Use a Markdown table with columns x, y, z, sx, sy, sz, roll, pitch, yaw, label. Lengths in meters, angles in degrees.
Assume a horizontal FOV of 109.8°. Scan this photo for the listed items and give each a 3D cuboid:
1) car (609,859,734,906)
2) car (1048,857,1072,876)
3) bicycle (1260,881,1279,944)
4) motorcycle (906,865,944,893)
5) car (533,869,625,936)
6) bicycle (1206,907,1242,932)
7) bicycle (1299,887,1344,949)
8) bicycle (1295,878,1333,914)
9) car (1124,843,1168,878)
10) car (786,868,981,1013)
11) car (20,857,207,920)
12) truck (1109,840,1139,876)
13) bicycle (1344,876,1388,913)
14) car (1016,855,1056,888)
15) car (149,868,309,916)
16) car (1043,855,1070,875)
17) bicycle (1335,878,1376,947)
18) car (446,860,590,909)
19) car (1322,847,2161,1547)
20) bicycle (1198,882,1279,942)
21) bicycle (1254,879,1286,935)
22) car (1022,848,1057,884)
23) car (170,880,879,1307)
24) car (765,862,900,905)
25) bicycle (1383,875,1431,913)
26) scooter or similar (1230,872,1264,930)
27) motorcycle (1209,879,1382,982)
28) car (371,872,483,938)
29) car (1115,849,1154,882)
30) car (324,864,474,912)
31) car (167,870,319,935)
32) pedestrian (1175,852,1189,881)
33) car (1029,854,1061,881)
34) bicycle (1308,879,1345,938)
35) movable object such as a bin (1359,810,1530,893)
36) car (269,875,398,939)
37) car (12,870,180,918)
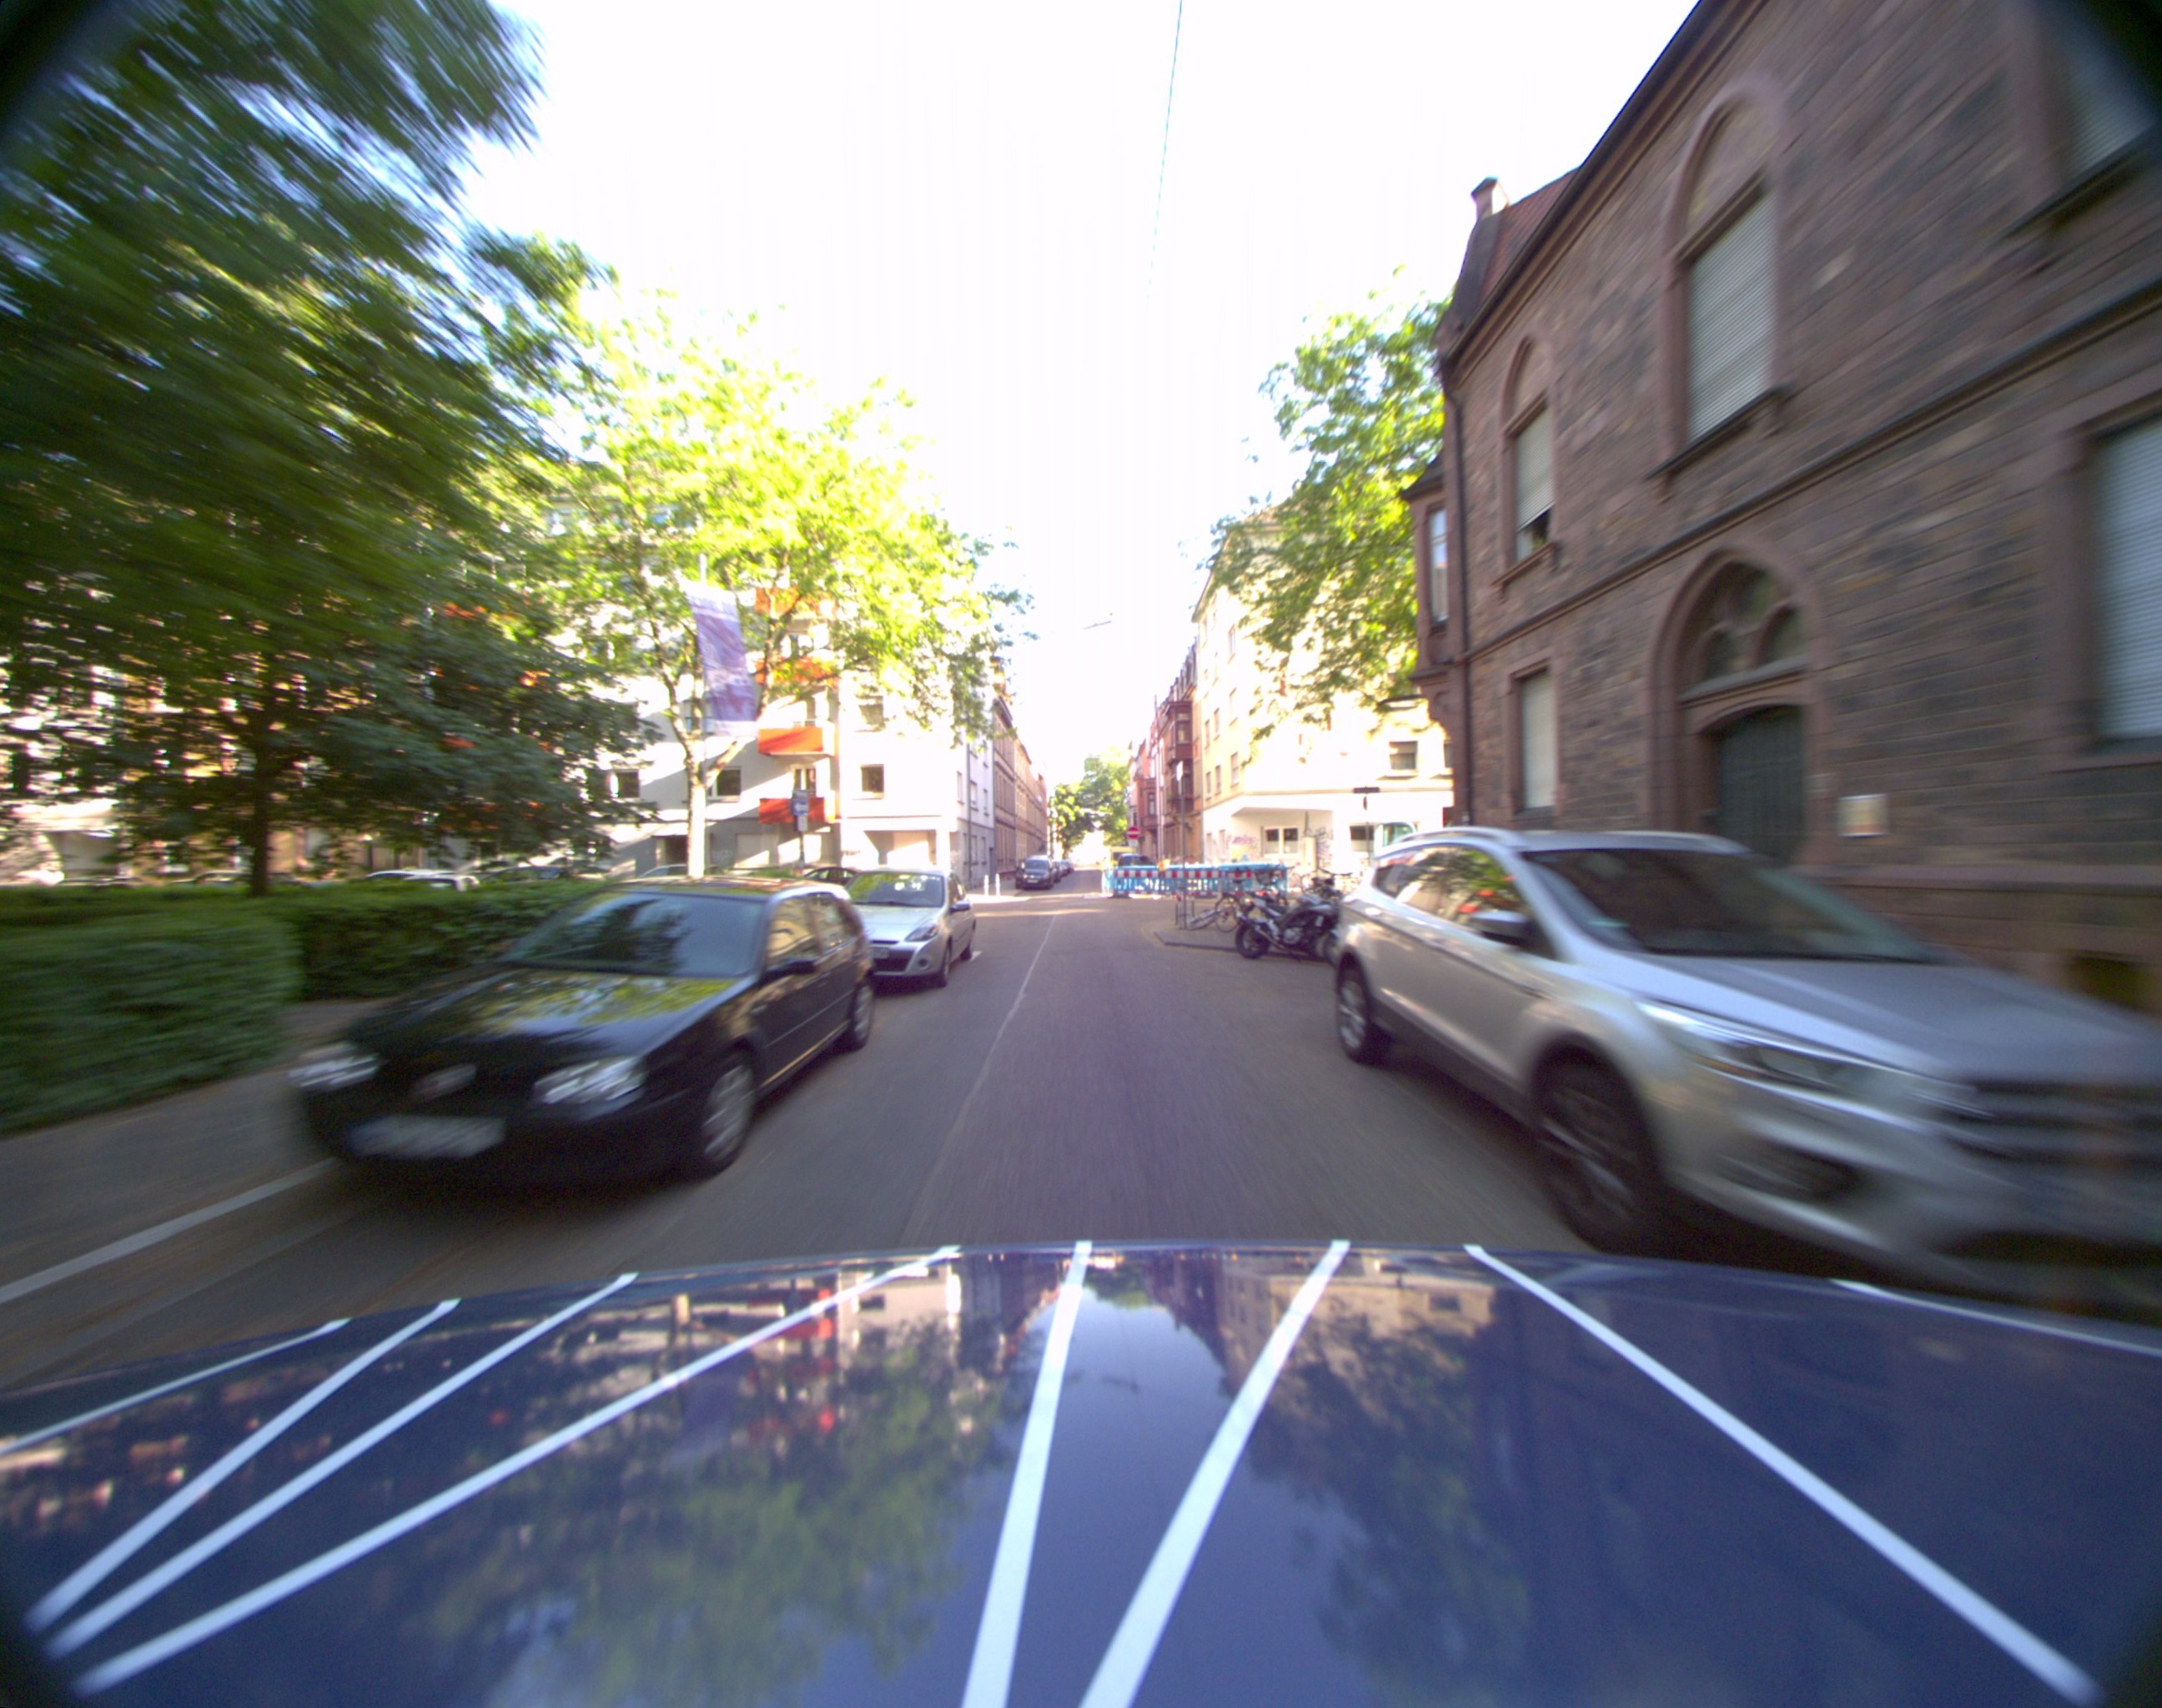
| x | y | z | sx | sy | sz | roll | pitch | yaw | label |
| --- | --- | --- | --- | --- | --- | --- | --- | --- | --- |
| -15.274 | 1.045 | 28.488 | 3.695 | 1.550 | 1.649 | -1 | 3 | 0 | car |
| -1.911 | 1.124 | 70.919 | 1.998 | 1.659 | 4.001 | -1 | 0 | 2 | car |
| 3.349 | 1.019 | 13.529 | 0.233 | 1.036 | 1.199 | -2 | 0 | 11 | bicycle |
| -6.629 | 1.049 | 32.356 | 1.472 | 1.111 | 0.908 | -1 | 0 | -6 | motorcycle |
| -13.291 | 1.182 | 20.080 | 1.785 | 1.423 | 4.404 | -3 | 2 | -34 | car |
| 2.965 | 1.351 | 15.817 | 0.451 | 0.440 | 1.198 | -2 | -2 | -3 | bicycle |
| 4.025 | 1.048 | 12.787 | 0.234 | 0.901 | 1.421 | -3 | 1 | -2 | bicycle |
| 6.344 | 1.120 | 20.772 | 0.492 | 0.920 | 1.758 | -2 | -2 | 1 | bicycle |
| 3.347 | 0.316 | 39.860 | 1.776 | 1.695 | 3.999 | -1 | 0 | -3 | car |
| -2.475 | 1.017 | 10.470 | 1.713 | 1.511 | 3.831 | 0 | 1 | -1 | car |
| -25.632 | 0.830 | 20.354 | 1.785 | 1.423 | 4.404 | -3 | 2 | -34 | car |
| 3.236 | 0.276 | 58.158 | 1.971 | 2.643 | 5.885 | 0 | 0 | 1 | truck |
| 7.514 | 1.065 | 20.091 | 0.492 | 0.920 | 1.758 | -2 | -2 | 1 | bicycle |
| -2.303 | 0.879 | 39.786 | 1.845 | 1.643 | 4.000 | 0 | 0 | 1 | car |
| -31.824 | 1.410 | 28.465 | 4.000 | 1.571 | 1.649 | -1 | 3 | 0 | car |
| -2.119 | 0.927 | 66.497 | 1.998 | 1.659 | 4.001 | -1 | 0 | 2 | car |
| 4.569 | 0.956 | 12.699 | 0.233 | 1.036 | 1.296 | -2 | 1 | 2 | bicycle |
| -20.924 | 1.104 | 28.351 | 4.036 | 1.608 | 1.649 | -1 | 3 | 0 | car |
| 2.754 | 0.815 | 3.948 | 1.713 | 1.664 | 4.277 | 1 | 1 | 2 | car |
| 2.924 | 1.062 | 14.275 | 0.234 | 1.037 | 1.679 | -4 | 2 | -39 | bicycle |
| 3.650 | 1.010 | 14.758 | 0.234 | 1.036 | 1.198 | -2 | -2 | -3 | bicycle |
| -2.492 | 0.693 | 45.472 | 1.999 | 2.052 | 3.998 | -1 | 0 | -4 | car |
| -2.623 | 0.980 | 4.872 | 1.625 | 1.428 | 4.002 | 0 | 1 | -1 | car |
| -9.194 | 1.075 | 28.339 | 4.412 | 1.423 | 1.782 | -1 | 1 | 0 | car |
| 8.467 | 1.021 | 19.824 | 0.492 | 0.920 | 1.758 | -2 | -2 | 1 | bicycle |
| 3.468 | 0.971 | 15.964 | 0.446 | 1.167 | 1.165 | -2 | -2 | 1 | scooter or similar |
| 2.991 | 1.017 | 10.829 | 0.703 | 1.244 | 2.320 | -1 | 1 | -44 | motorcycle |
| -17.675 | 1.301 | 20.744 | 1.785 | 1.423 | 4.404 | -3 | 2 | -34 | car |
| 3.146 | 0.657 | 45.315 | 1.805 | 1.841 | 3.999 | -1 | 0 | -3 | car |
| -25.463 | 1.240 | 28.472 | 4.000 | 1.571 | 1.649 | -1 | 3 | 0 | car |
| -22.803 | 1.232 | 20.896 | 1.785 | 1.423 | 4.404 | -3 | 2 | -34 | car |
| 5.704 | 0.695 | 43.051 | 0.670 | 1.585 | 0.597 | -1 | 0 | -3 | pedestrian |
| -2.426 | 0.878 | 50.483 | 1.999 | 1.659 | 3.998 | -1 | 0 | -4 | car |
| 4.555 | 0.979 | 14.145 | 0.233 | 1.036 | 1.452 | -2 | -2 | 2 | bicycle |
| 12.911 | -0.115 | 27.240 | 5.149 | 2.733 | 2.000 | -2 | 2 | 5 | movable object such as a bin |
| -20.765 | 1.387 | 21.314 | 1.785 | 1.423 | 4.404 | -3 | 2 | -34 | car |
| -36.843 | 1.467 | 28.486 | 4.000 | 1.571 | 1.649 | -1 | 3 | 0 | car |
